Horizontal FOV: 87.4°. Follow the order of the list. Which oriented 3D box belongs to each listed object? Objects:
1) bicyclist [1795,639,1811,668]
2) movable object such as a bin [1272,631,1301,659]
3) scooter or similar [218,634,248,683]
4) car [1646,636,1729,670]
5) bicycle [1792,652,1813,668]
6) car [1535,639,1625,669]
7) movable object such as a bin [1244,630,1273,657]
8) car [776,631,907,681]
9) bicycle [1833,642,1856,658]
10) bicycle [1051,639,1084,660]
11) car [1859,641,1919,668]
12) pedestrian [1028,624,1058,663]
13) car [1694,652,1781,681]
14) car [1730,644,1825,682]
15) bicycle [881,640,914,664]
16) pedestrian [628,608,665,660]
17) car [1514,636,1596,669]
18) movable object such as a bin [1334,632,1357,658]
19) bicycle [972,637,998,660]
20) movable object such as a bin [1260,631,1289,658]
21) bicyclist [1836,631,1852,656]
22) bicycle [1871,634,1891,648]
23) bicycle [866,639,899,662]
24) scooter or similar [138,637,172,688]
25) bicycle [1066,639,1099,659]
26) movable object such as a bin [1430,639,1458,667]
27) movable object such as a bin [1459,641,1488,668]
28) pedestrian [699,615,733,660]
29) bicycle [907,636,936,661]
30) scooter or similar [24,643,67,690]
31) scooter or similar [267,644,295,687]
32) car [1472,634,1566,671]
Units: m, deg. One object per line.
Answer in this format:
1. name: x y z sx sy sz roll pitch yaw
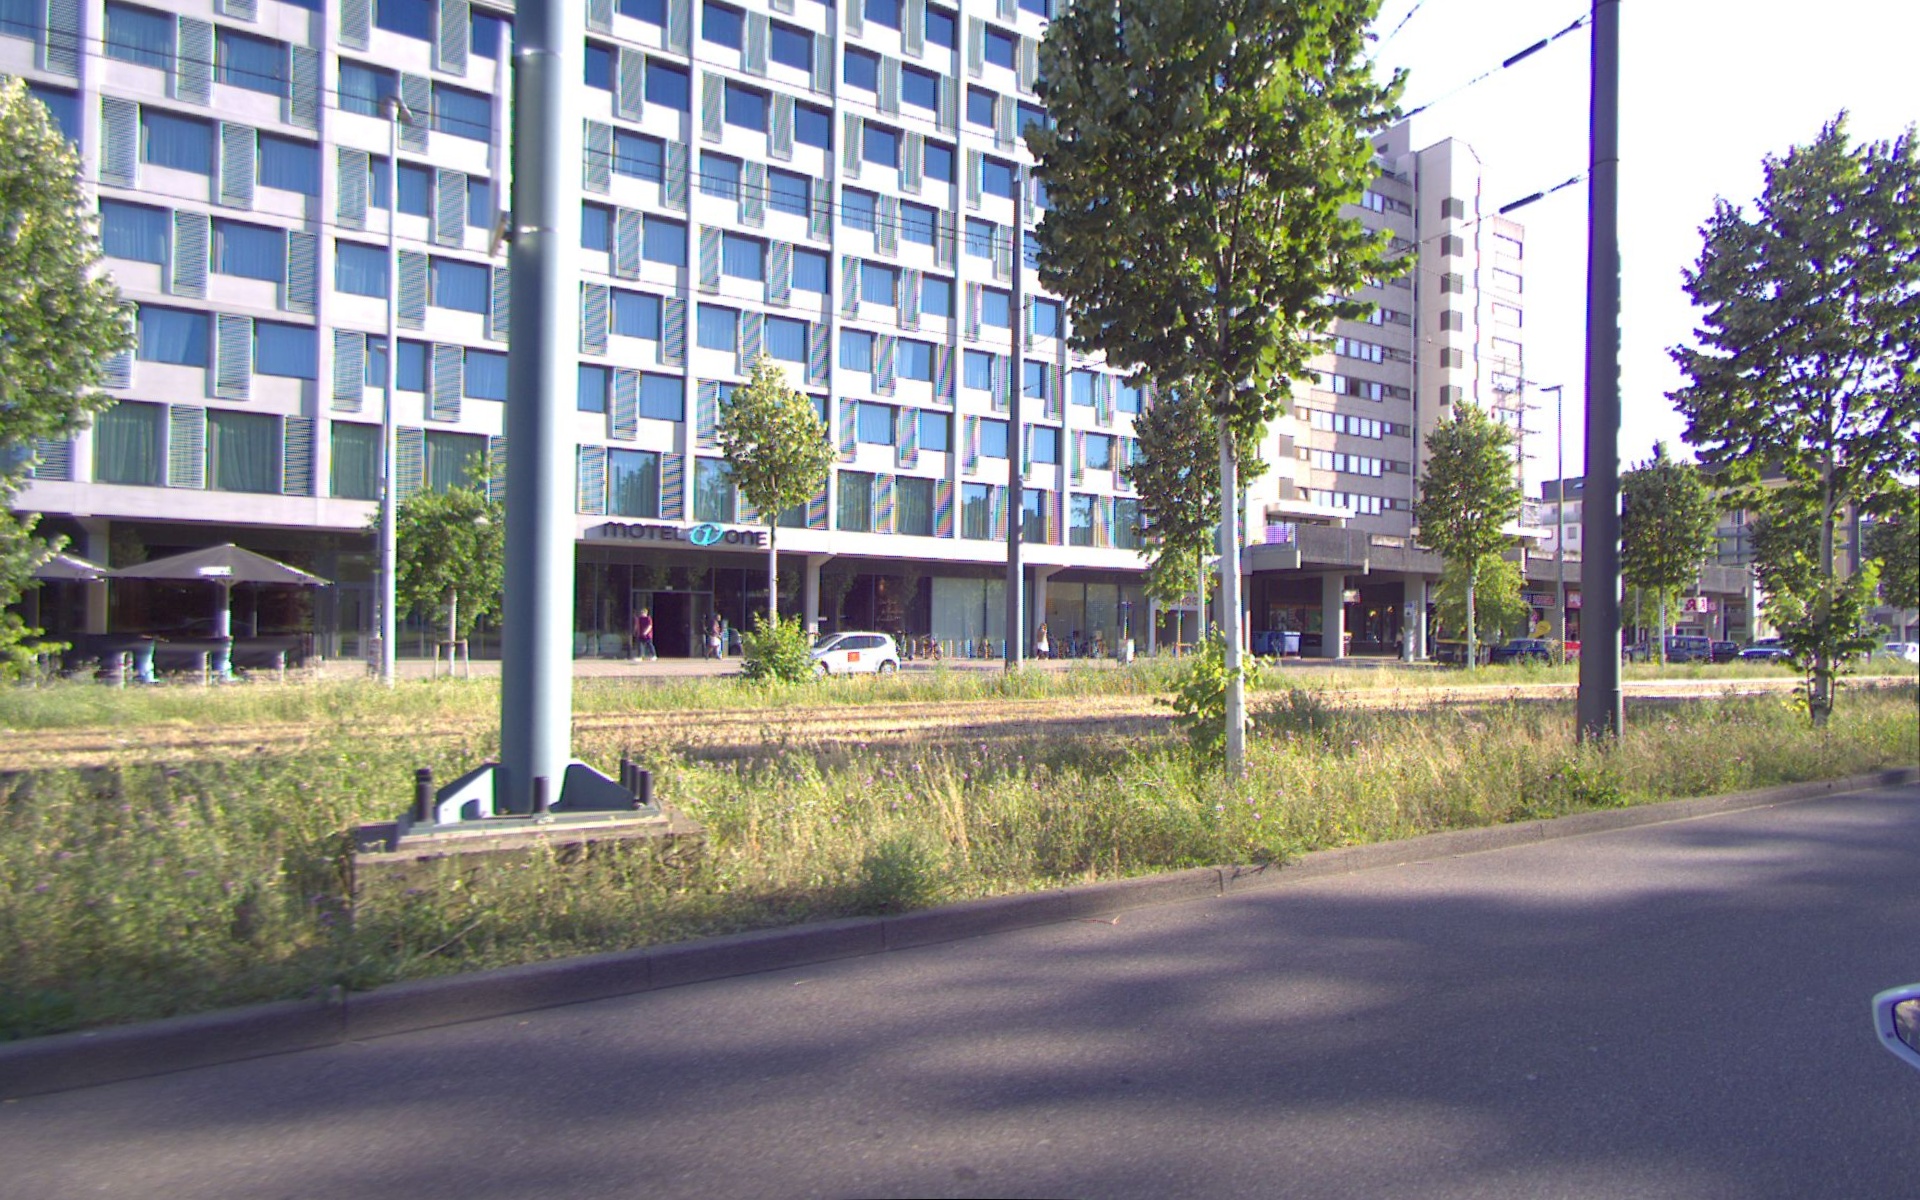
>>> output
1. bicyclist: 53.489 3.363 63.741 0.849 1.812 0.537 1 0 -33
2. movable object such as a bin: 17.513 2.423 53.873 1.386 1.459 0.796 2 -2 -30
3. scooter or similar: -18.114 1.450 25.040 0.401 1.187 1.238 1 -2 -28
4. car: 44.084 3.176 60.975 3.685 1.853 1.824 1 0 21
5. bicycle: 53.406 3.792 63.690 1.693 1.006 0.541 2 0 -33
6. car: 34.758 2.993 56.404 3.919 1.472 1.788 1 0 12
7. movable object such as a bin: 16.516 2.409 55.625 1.386 1.459 0.796 2 -2 -30
8. car: -3.876 1.802 32.903 3.824 1.512 1.878 2 -1 -28
9. bicycle: 57.580 3.251 65.408 1.769 1.053 0.552 2 0 -29
10. bicycle: 4.970 2.288 46.533 0.506 0.917 1.794 2 -2 -32
11. car: 58.434 3.409 62.969 3.950 1.535 1.878 2 -1 -28
12. pedestrian: 3.607 1.872 43.622 0.958 1.675 0.840 1 -1 -28
13. car: 49.746 4.223 64.356 3.919 1.595 2.001 1 0 12
14. car: 40.235 3.052 49.406 5.026 1.711 1.878 2 -1 -29
15. bicycle: -2.627 2.176 42.202 0.507 0.917 1.792 2 -2 -35
16. pedestrian: -11.645 1.255 37.348 0.959 1.895 0.973 1 -1 7
17. car: 32.417 2.852 54.816 3.554 1.543 1.621 2 0 20
18. movable object such as a bin: 21.440 2.508 55.833 0.858 1.389 0.818 1 -2 -30
19. bicycle: 1.089 2.112 43.928 0.504 0.917 1.802 1 -2 -19
20. movable object such as a bin: 17.094 2.418 54.634 1.386 1.459 0.796 2 -2 -30
21. bicyclist: 57.511 2.834 65.370 0.674 1.565 0.549 1 0 -29
22. bicycle: 64.683 2.871 70.514 1.699 0.976 0.603 2 0 -33
23. bicycle: -3.224 2.084 41.686 0.507 0.917 1.792 2 -2 -35
24. scooter or similar: -19.462 1.491 24.300 0.401 1.187 1.238 1 -2 -28
25. bicycle: 5.713 2.278 46.824 0.506 0.917 1.794 2 -2 -32
26. movable object such as a bin: 24.411 2.673 50.656 0.924 1.375 0.858 1 -1 -15
27. movable object such as a bin: 25.353 2.690 49.608 0.924 1.297 0.858 1 -1 -15
28. pedestrian: -9.385 1.423 38.634 1.045 1.692 0.972 1 -1 -28
29. bicycle: -1.654 2.076 43.004 0.477 0.979 1.743 1 0 -30
30. scooter or similar: -20.977 1.516 23.055 0.429 1.032 1.238 1 -2 -28
31. scooter or similar: -17.064 1.623 25.255 0.429 1.032 1.238 1 -2 -28
32. car: 29.450 2.740 53.031 4.015 1.622 1.750 3 1 20
